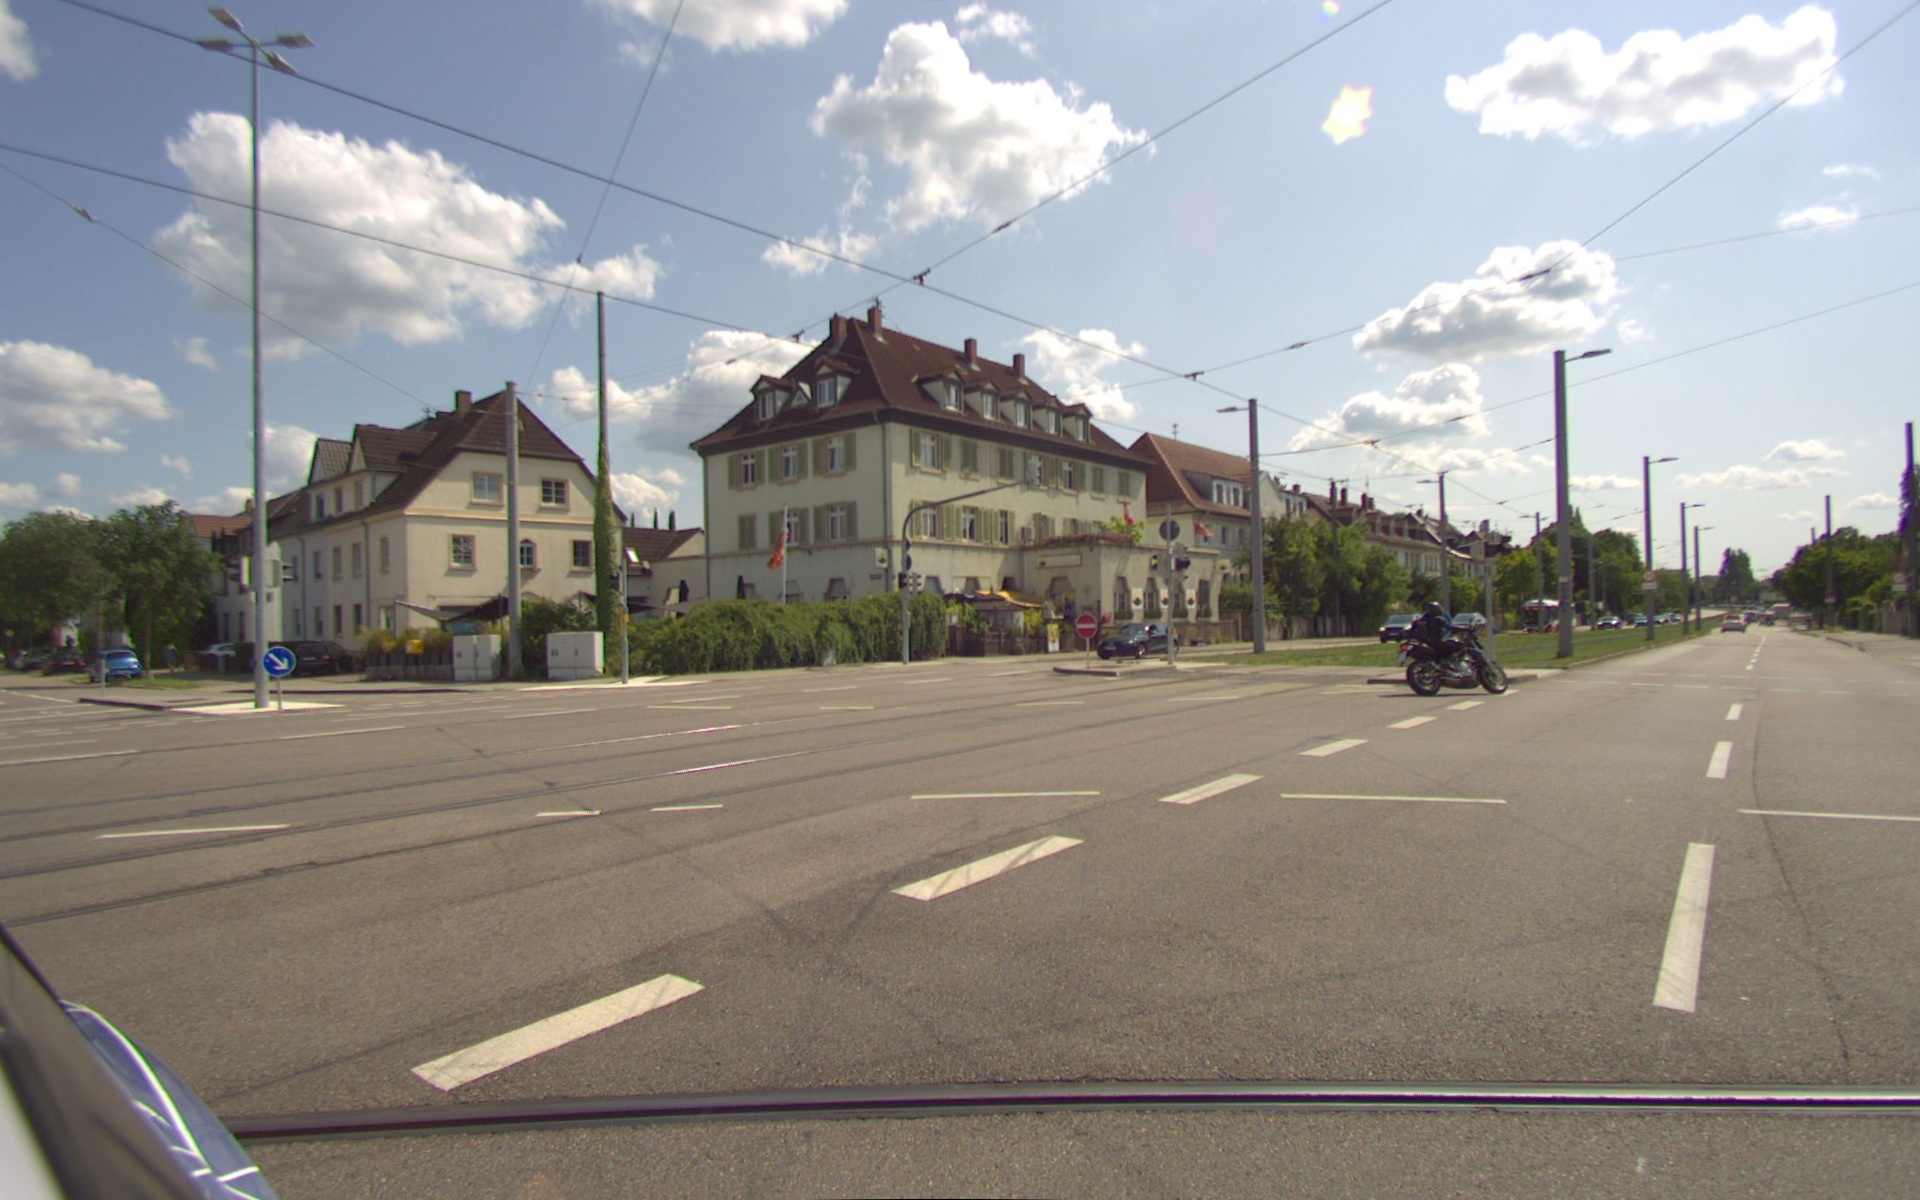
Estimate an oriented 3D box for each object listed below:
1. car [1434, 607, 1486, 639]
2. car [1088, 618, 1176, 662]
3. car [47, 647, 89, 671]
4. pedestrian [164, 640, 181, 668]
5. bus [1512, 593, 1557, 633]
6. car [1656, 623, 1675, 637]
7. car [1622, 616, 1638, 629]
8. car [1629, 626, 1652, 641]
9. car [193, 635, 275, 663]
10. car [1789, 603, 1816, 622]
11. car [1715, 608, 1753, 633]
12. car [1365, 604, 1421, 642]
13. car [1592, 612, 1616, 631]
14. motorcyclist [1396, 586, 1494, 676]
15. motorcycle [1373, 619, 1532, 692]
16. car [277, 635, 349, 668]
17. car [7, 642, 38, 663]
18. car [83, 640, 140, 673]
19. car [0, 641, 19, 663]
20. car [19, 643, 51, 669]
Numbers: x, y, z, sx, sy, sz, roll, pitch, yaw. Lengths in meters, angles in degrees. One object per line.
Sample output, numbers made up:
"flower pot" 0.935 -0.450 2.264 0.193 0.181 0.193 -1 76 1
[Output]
"car" 33.542 1.522 67.867 2.001 2.029 3.942 -2 -2 44
"car" 6.748 1.512 39.461 1.745 1.596 3.875 -2 -2 38
"car" -53.550 3.515 60.752 1.685 1.306 3.920 0 -2 -44
"pedestrian" -44.761 3.055 57.525 0.617 1.547 0.624 -2 -2 38
"bus" 58.173 1.307 102.304 2.397 3.805 11.872 -2 -1 37
"car" 105.439 4.528 151.256 1.997 2.029 3.948 -2 -2 38
"car" 109.454 3.696 165.303 1.996 2.029 3.951 -2 -1 36
"car" 91.091 4.477 135.388 1.999 2.029 3.945 -3 -2 42
"car" -42.697 2.861 59.565 3.752 1.465 1.712 0 -2 -45
"car" 92.968 1.391 111.664 2.001 2.029 3.942 -3 -3 44
"car" 65.037 1.740 85.030 2.001 2.029 3.942 -3 -2 44
"car" 23.957 1.261 55.951 1.903 2.029 3.666 -1 -1 39
"car" 72.454 2.443 113.848 1.997 2.029 3.950 -2 -1 37
"motorcyclist" 8.098 0.519 16.932 1.082 1.409 0.827 -4 -2 -11
"motorcycle" 8.245 0.914 16.977 2.320 1.136 0.846 -1 -2 -11
"car" -28.991 2.276 45.499 1.732 1.397 4.114 -1 -2 -18
"car" -68.452 3.823 73.925 1.600 1.436 3.005 -1 -1 -42
"car" -40.584 2.685 48.405 3.154 1.473 1.687 -3 -2 42
"car" -75.318 4.118 79.798 1.540 1.667 3.253 0 -2 -44
"car" -63.922 3.865 69.942 1.540 1.667 3.575 0 -2 -44
